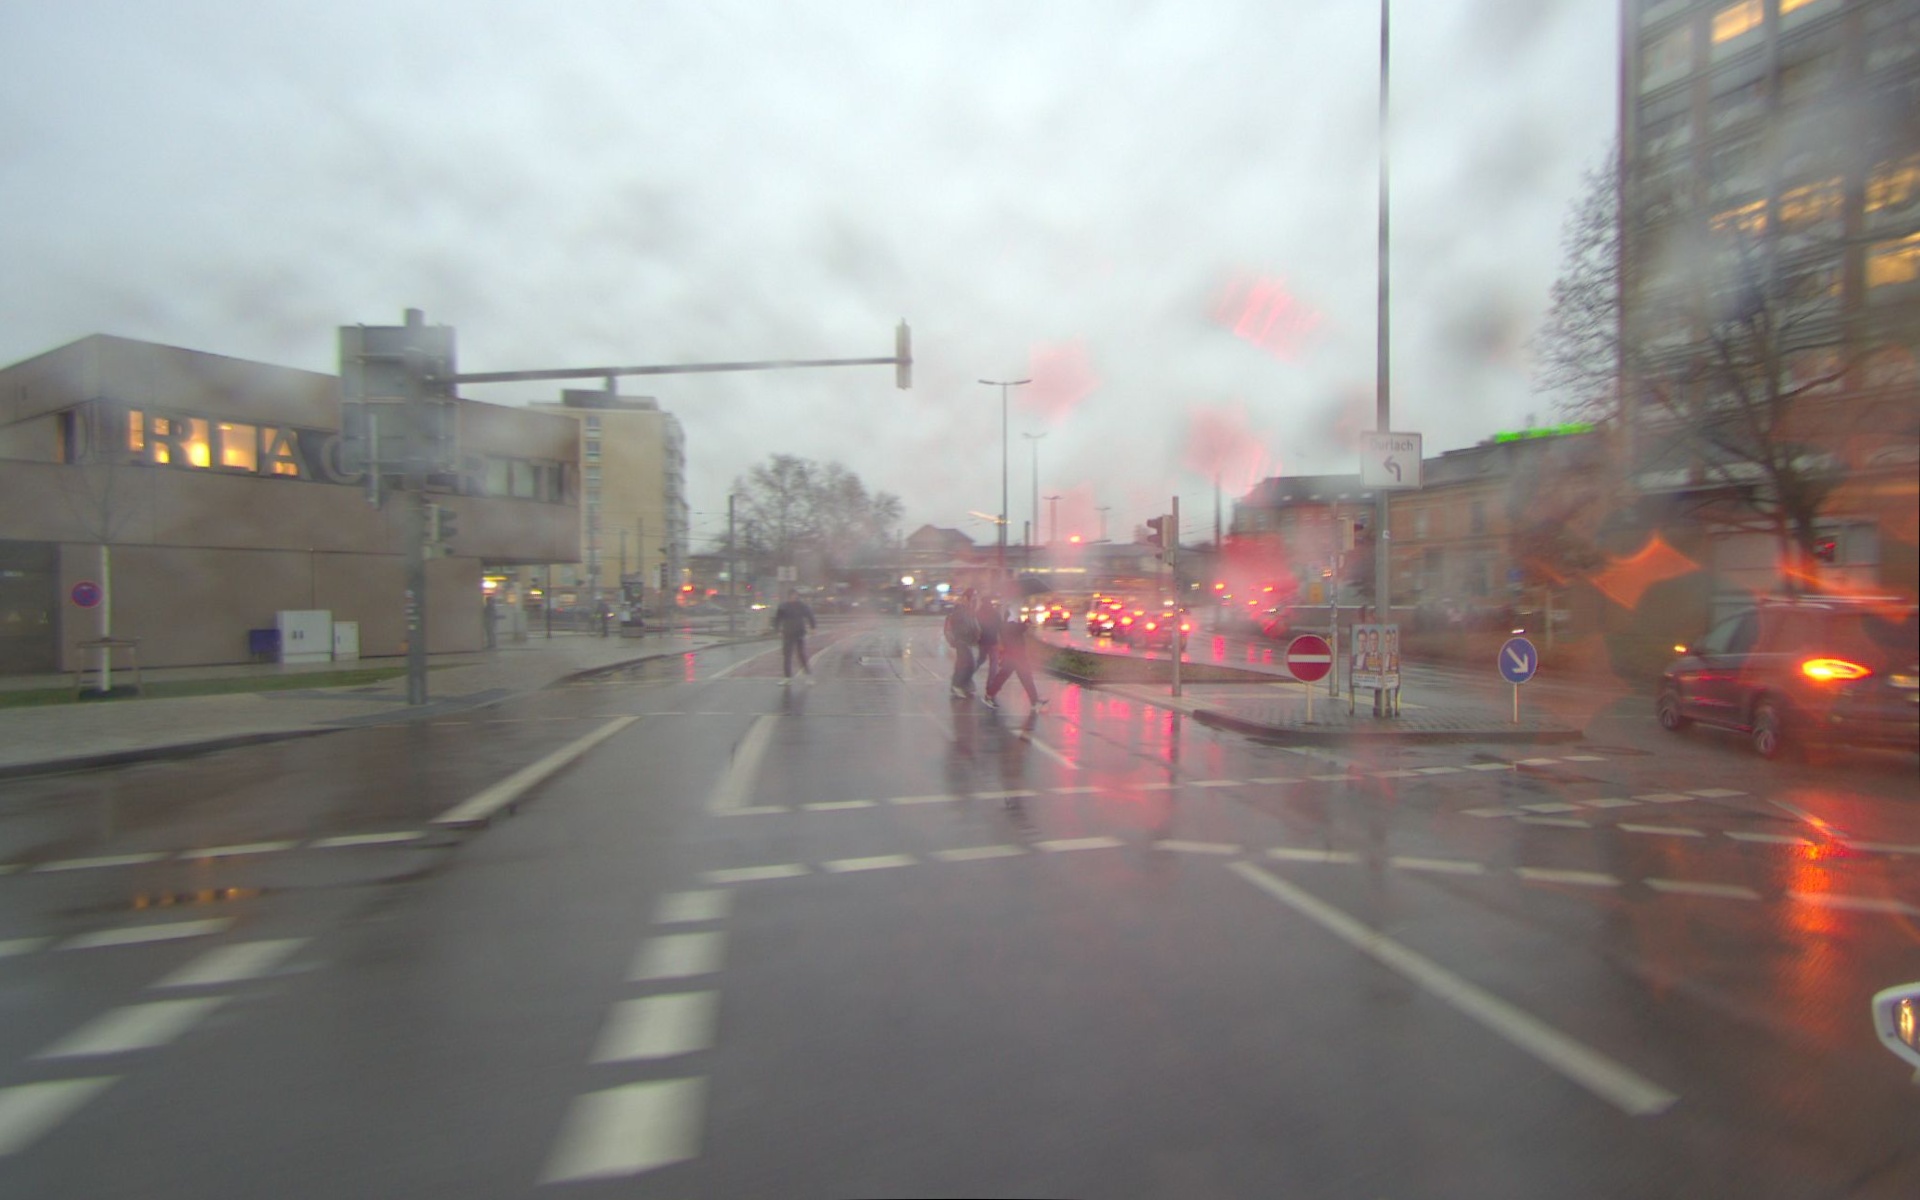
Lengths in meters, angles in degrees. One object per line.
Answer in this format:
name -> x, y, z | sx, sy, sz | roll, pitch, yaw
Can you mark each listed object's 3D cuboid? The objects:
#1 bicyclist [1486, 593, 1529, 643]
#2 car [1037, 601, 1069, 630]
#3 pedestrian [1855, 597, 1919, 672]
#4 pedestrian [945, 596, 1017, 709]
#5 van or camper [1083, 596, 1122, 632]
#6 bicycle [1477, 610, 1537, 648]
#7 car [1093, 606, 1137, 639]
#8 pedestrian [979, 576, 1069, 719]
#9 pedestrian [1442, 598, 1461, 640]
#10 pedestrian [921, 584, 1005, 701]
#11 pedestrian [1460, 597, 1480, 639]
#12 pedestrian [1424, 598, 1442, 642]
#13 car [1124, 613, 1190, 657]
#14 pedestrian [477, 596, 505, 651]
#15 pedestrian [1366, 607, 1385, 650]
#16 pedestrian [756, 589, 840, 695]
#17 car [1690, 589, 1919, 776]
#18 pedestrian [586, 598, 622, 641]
bicyclist -> 18.755, 0.605, 34.426 | 0.790, 1.640, 1.085 | -3, 1, -1
car -> 5.941, 0.991, 64.809 | 1.853, 1.795, 4.001 | 0, 0, 3
pedestrian -> 22.063, 0.807, 23.759 | 0.794, 1.710, 1.070 | -2, 0, -3
pedestrian -> 0.391, 0.968, 19.133 | 1.095, 2.033, 0.842 | -1, 3, -26
van or camper -> 8.851, 0.839, 62.778 | 2.164, 2.137, 4.989 | 1, 0, 5
bicycle -> 18.779, 0.977, 34.540 | 0.790, 1.157, 2.213 | -3, 0, -1
car -> 8.268, 1.170, 53.911 | 1.755, 1.622, 4.542 | 2, 0, 2
pedestrian -> 0.951, 0.682, 15.284 | 1.192, 2.077, 1.034 | 0, 3, -7
pedestrian -> 20.265, 0.774, 41.410 | 0.657, 1.710, 0.611 | -2, 1, 28
pedestrian -> 0.044, 0.682, 17.143 | 1.025, 1.883, 1.060 | -1, 3, -35
pedestrian -> 21.043, 0.753, 41.451 | 0.707, 1.710, 0.759 | -1, 0, 28
pedestrian -> 19.661, 0.825, 41.755 | 0.575, 1.805, 0.768 | -2, -1, 28
car -> 7.800, 1.359, 40.112 | 1.673, 1.501, 3.870 | 3, 0, -2
pedestrian -> -15.578, 0.779, 33.370 | 0.651, 1.791, 0.830 | -1, 0, -15
pedestrian -> 20.643, 1.412, 49.892 | 0.795, 2.041, 0.759 | 2, 3, 28
pedestrian -> -3.065, 0.751, 19.017 | 1.226, 1.883, 1.022 | -2, 3, -44
car -> 10.240, 0.813, 11.934 | 1.750, 1.824, 4.419 | 1, 0, 26
pedestrian -> -16.274, 0.876, 45.901 | 1.044, 1.944, 1.121 | 0, 0, 32
